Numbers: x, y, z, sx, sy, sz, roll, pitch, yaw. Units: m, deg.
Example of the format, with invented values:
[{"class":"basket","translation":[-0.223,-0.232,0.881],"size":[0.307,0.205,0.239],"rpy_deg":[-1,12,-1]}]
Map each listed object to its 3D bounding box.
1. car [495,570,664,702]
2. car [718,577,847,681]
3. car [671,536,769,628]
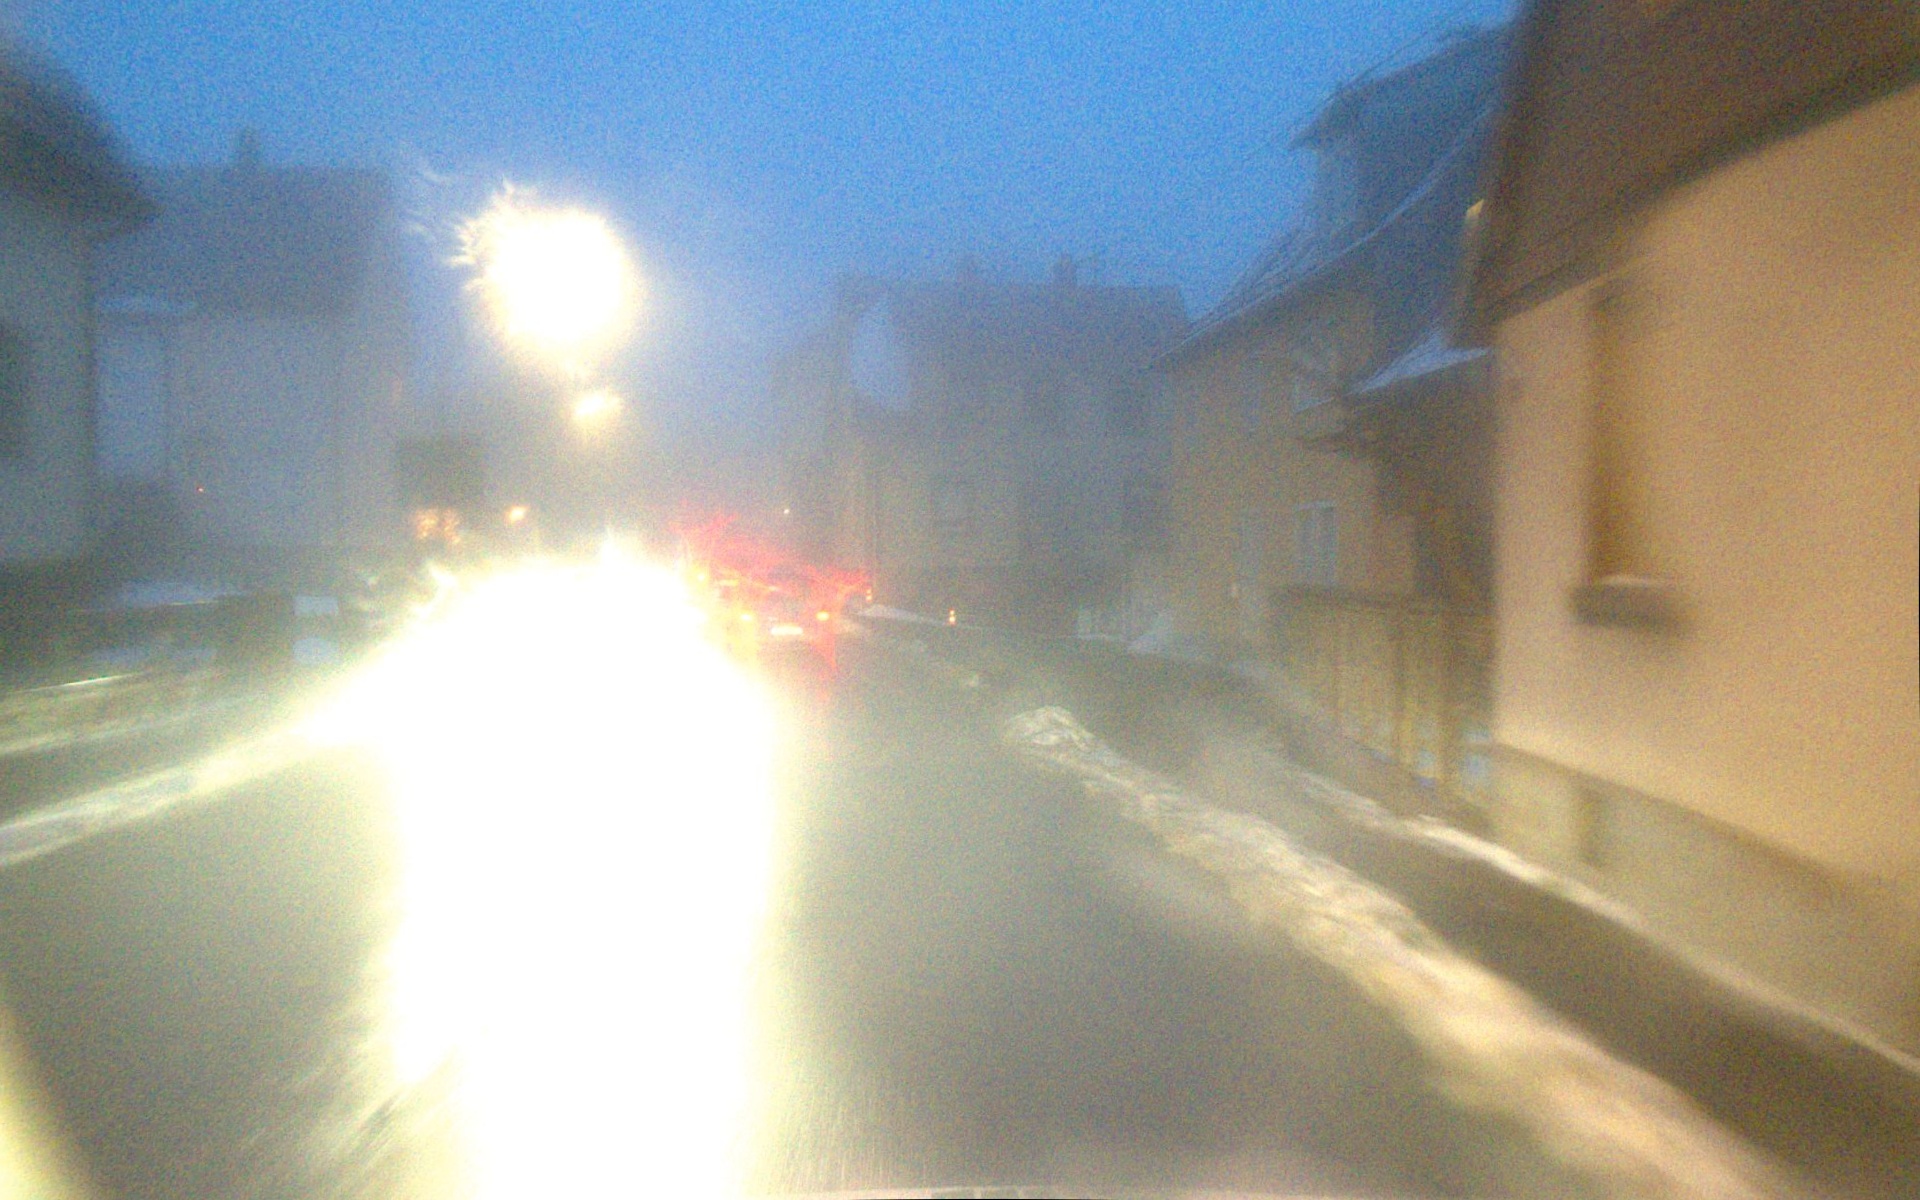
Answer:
[{"class":"car","translation":[-5.357,0.478,23.823],"size":[1.805,1.717,4.472],"rpy_deg":[0,0,-6]},{"class":"car","translation":[-3.048,0.493,28.050],"size":[1.956,1.534,3.993],"rpy_deg":[3,-1,-8]},{"class":"car","translation":[-5.900,-0.387,41.079],"size":[1.954,2.049,3.997],"rpy_deg":[3,-1,-3]}]
